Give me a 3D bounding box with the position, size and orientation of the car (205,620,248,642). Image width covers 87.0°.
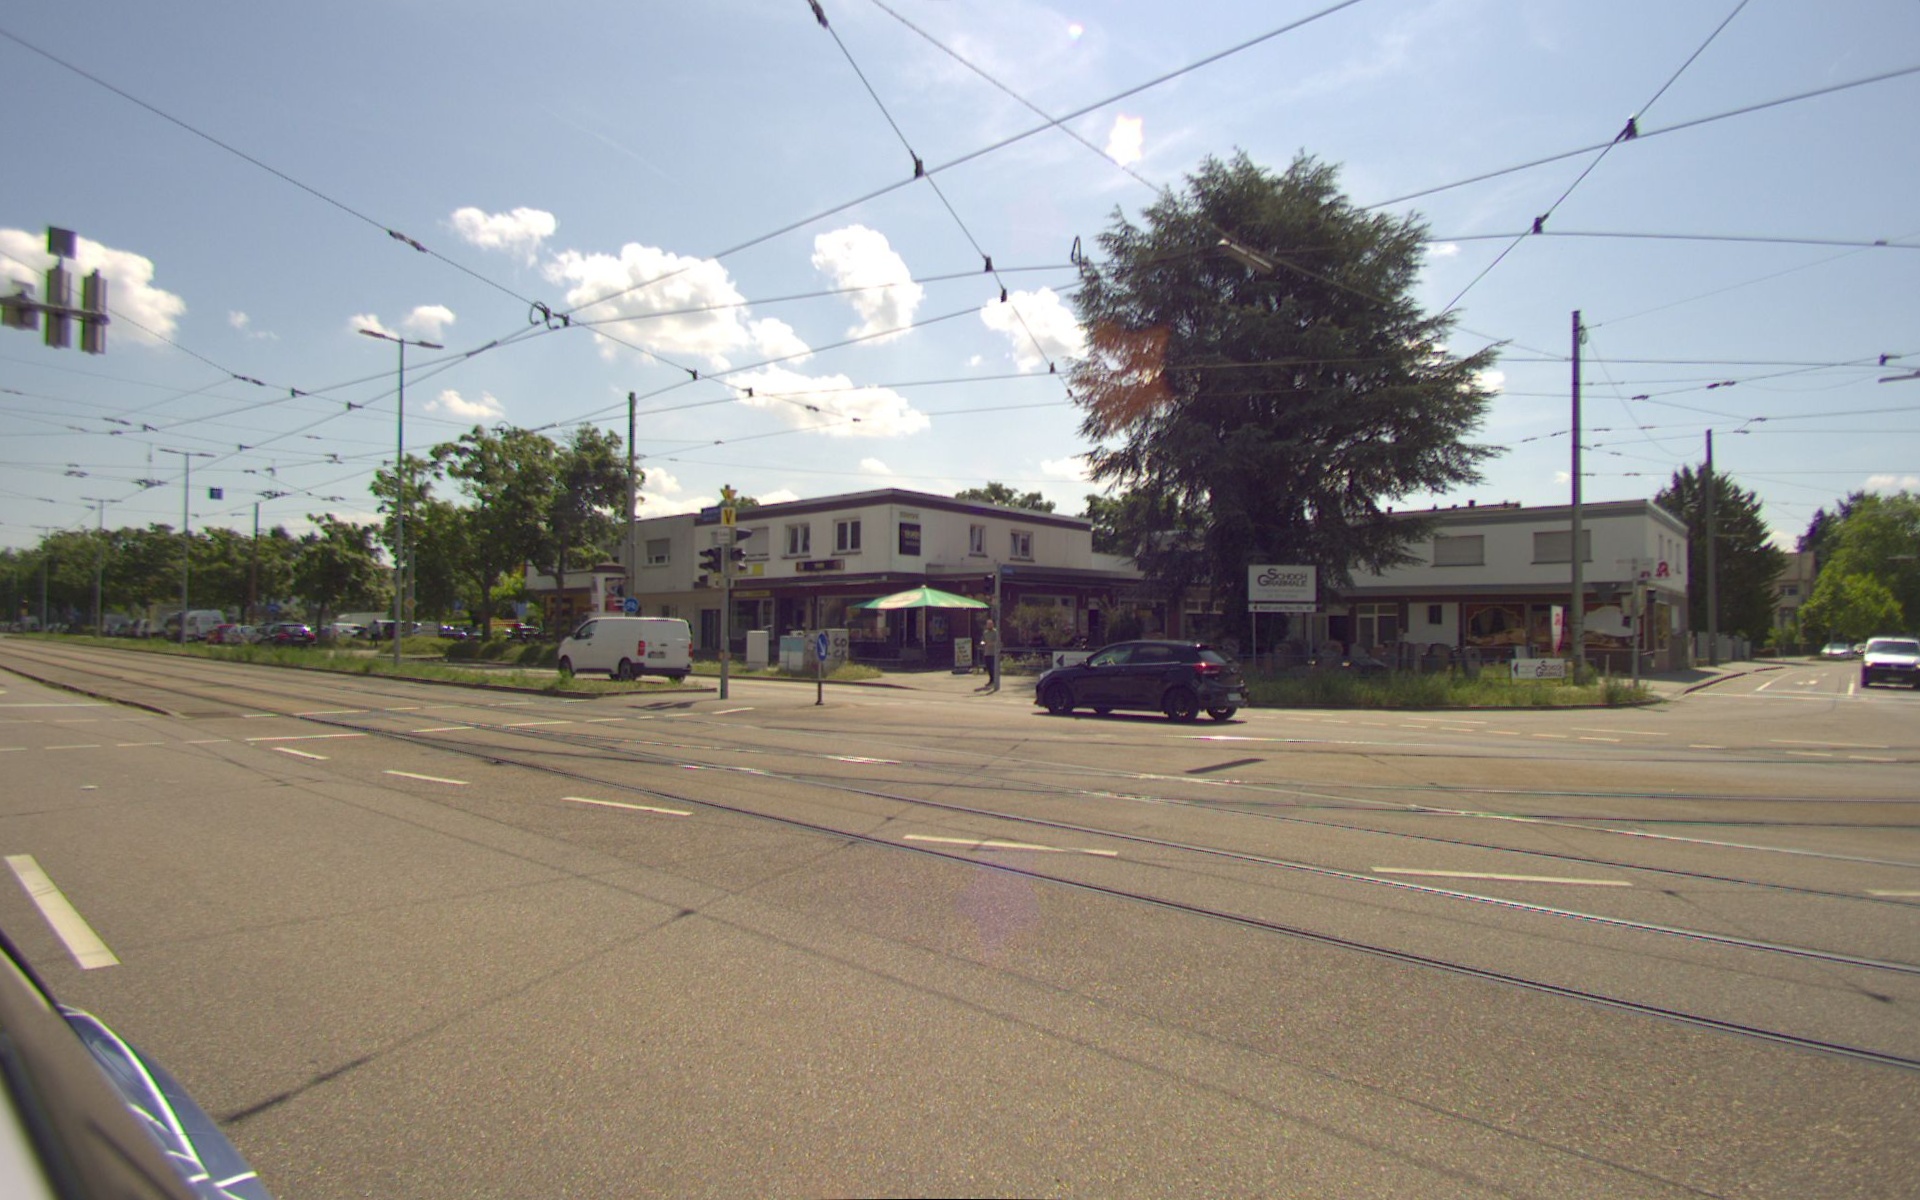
[{"bbox_3d":[-54.783,2.323,75.545,3.998,1.608,1.722,-1,-3,41],"label":"car"}]

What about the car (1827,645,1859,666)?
[{"bbox_3d":[76.925,4.832,88.168,1.999,1.533,3.946,-1,0,40],"label":"car"}]

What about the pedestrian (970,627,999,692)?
[{"bbox_3d":[0.702,1.688,28.957,0.679,1.788,0.484,0,2,23],"label":"pedestrian"}]

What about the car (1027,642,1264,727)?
[{"bbox_3d":[3.370,1.489,18.738,3.996,1.364,1.761,-1,-3,40],"label":"car"}]

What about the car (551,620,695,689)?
[{"bbox_3d":[-9.953,1.552,29.740,4.550,1.890,1.840,-1,-3,39],"label":"car"}]

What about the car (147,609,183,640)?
[{"bbox_3d":[-70.642,2.191,89.863,3.998,2.608,1.722,-1,-3,41],"label":"car"}]

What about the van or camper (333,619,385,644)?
[{"bbox_3d":[-74.972,3.951,126.337,2.246,3.141,5.090,-1,-3,42],"label":"van or camper"}]

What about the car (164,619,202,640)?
[{"bbox_3d":[-64.875,2.450,84.495,3.998,1.706,1.722,-1,-3,41],"label":"car"}]

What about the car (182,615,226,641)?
[{"bbox_3d":[-59.716,2.198,79.901,3.998,1.980,1.941,-1,-3,41],"label":"car"}]

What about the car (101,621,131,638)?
[{"bbox_3d":[-86.945,3.082,104.184,3.998,1.706,1.722,-1,-3,41],"label":"car"}]

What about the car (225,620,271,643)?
[{"bbox_3d":[-50.506,2.220,71.732,3.998,1.608,1.722,-1,-3,41],"label":"car"}]

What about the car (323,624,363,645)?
[{"bbox_3d":[-52.447,2.944,86.038,3.998,1.706,1.722,-1,-3,41],"label":"car"}]

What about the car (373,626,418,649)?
[{"bbox_3d":[-43.156,2.824,77.371,3.998,1.706,1.722,-1,-3,41],"label":"car"}]

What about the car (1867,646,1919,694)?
[{"bbox_3d":[36.205,2.642,38.843,1.999,1.741,3.944,-1,-3,42],"label":"car"}]

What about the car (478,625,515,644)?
[{"bbox_3d":[-44.741,3.317,97.635,3.998,1.706,1.722,-1,-3,41],"label":"car"}]

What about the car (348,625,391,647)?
[{"bbox_3d":[-46.801,2.871,80.242,3.998,1.706,1.722,-1,-3,41],"label":"car"}]

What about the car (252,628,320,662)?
[{"bbox_3d":[-33.002,2.170,49.513,3.998,1.608,1.722,-1,-3,41],"label":"car"}]

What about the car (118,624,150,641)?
[{"bbox_3d":[-81.948,3.232,100.384,3.998,1.706,1.722,-1,-3,41],"label":"car"}]

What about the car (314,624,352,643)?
[{"bbox_3d":[-55.840,2.988,90.118,3.998,1.706,1.722,-1,-3,41],"label":"car"}]
